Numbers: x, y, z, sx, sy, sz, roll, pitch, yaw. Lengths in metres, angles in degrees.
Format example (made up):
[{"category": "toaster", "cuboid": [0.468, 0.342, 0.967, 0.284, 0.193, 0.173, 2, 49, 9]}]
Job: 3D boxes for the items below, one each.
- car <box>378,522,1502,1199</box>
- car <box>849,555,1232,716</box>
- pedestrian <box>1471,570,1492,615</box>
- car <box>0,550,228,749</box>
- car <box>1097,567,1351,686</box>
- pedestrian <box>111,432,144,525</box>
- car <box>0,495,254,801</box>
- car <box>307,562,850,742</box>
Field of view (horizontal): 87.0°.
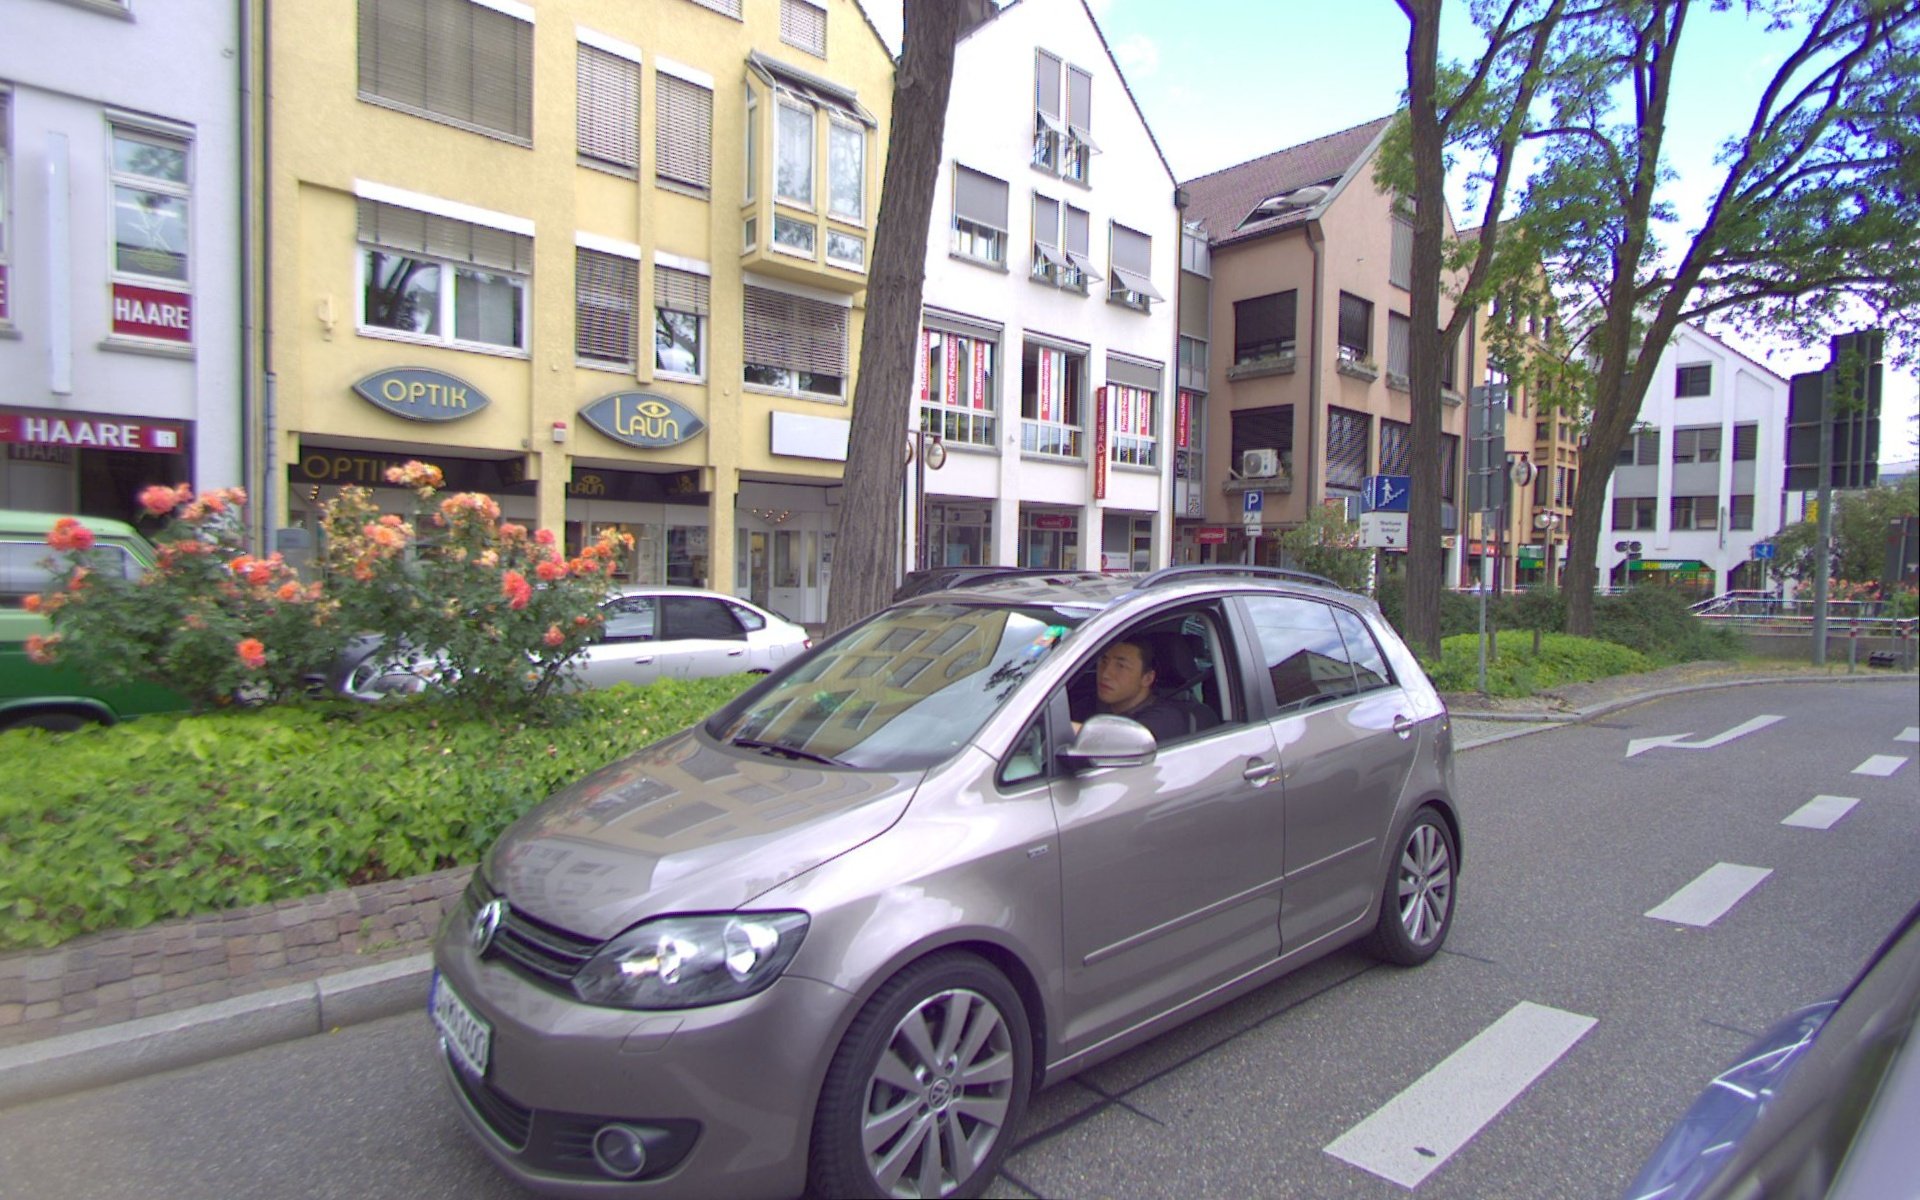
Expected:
[{"category": "car", "cuboid": [0.235, 0.625, 3.761, 3.929, 1.549, 1.800, 0, 0, -40]}, {"category": "car", "cuboid": [1.024, 0.343, 13.579, 4.712, 1.699, 1.980, 3, 2, 29]}, {"category": "pedestrian", "cuboid": [19.580, -0.288, 37.985, 0.495, 1.645, 0.494, 0, 1, -40]}, {"category": "car", "cuboid": [-8.999, 0.382, 8.271, 4.676, 1.566, 1.996, -1, 4, -44]}, {"category": "car", "cuboid": [4.568, 0.319, 17.094, 4.676, 1.674, 1.996, -1, 4, -44]}, {"category": "pedestrian", "cuboid": [-15.154, -2.190, 18.428, 0.417, 1.631, 0.555, 0, 2, -45]}, {"category": "car", "cuboid": [-7.357, 0.264, 6.270, 4.675, 1.899, 1.996, -1, 4, -43]}, {"category": "car", "cuboid": [-3.522, 0.334, 9.973, 4.674, 1.325, 1.841, -1, 4, -43]}]
